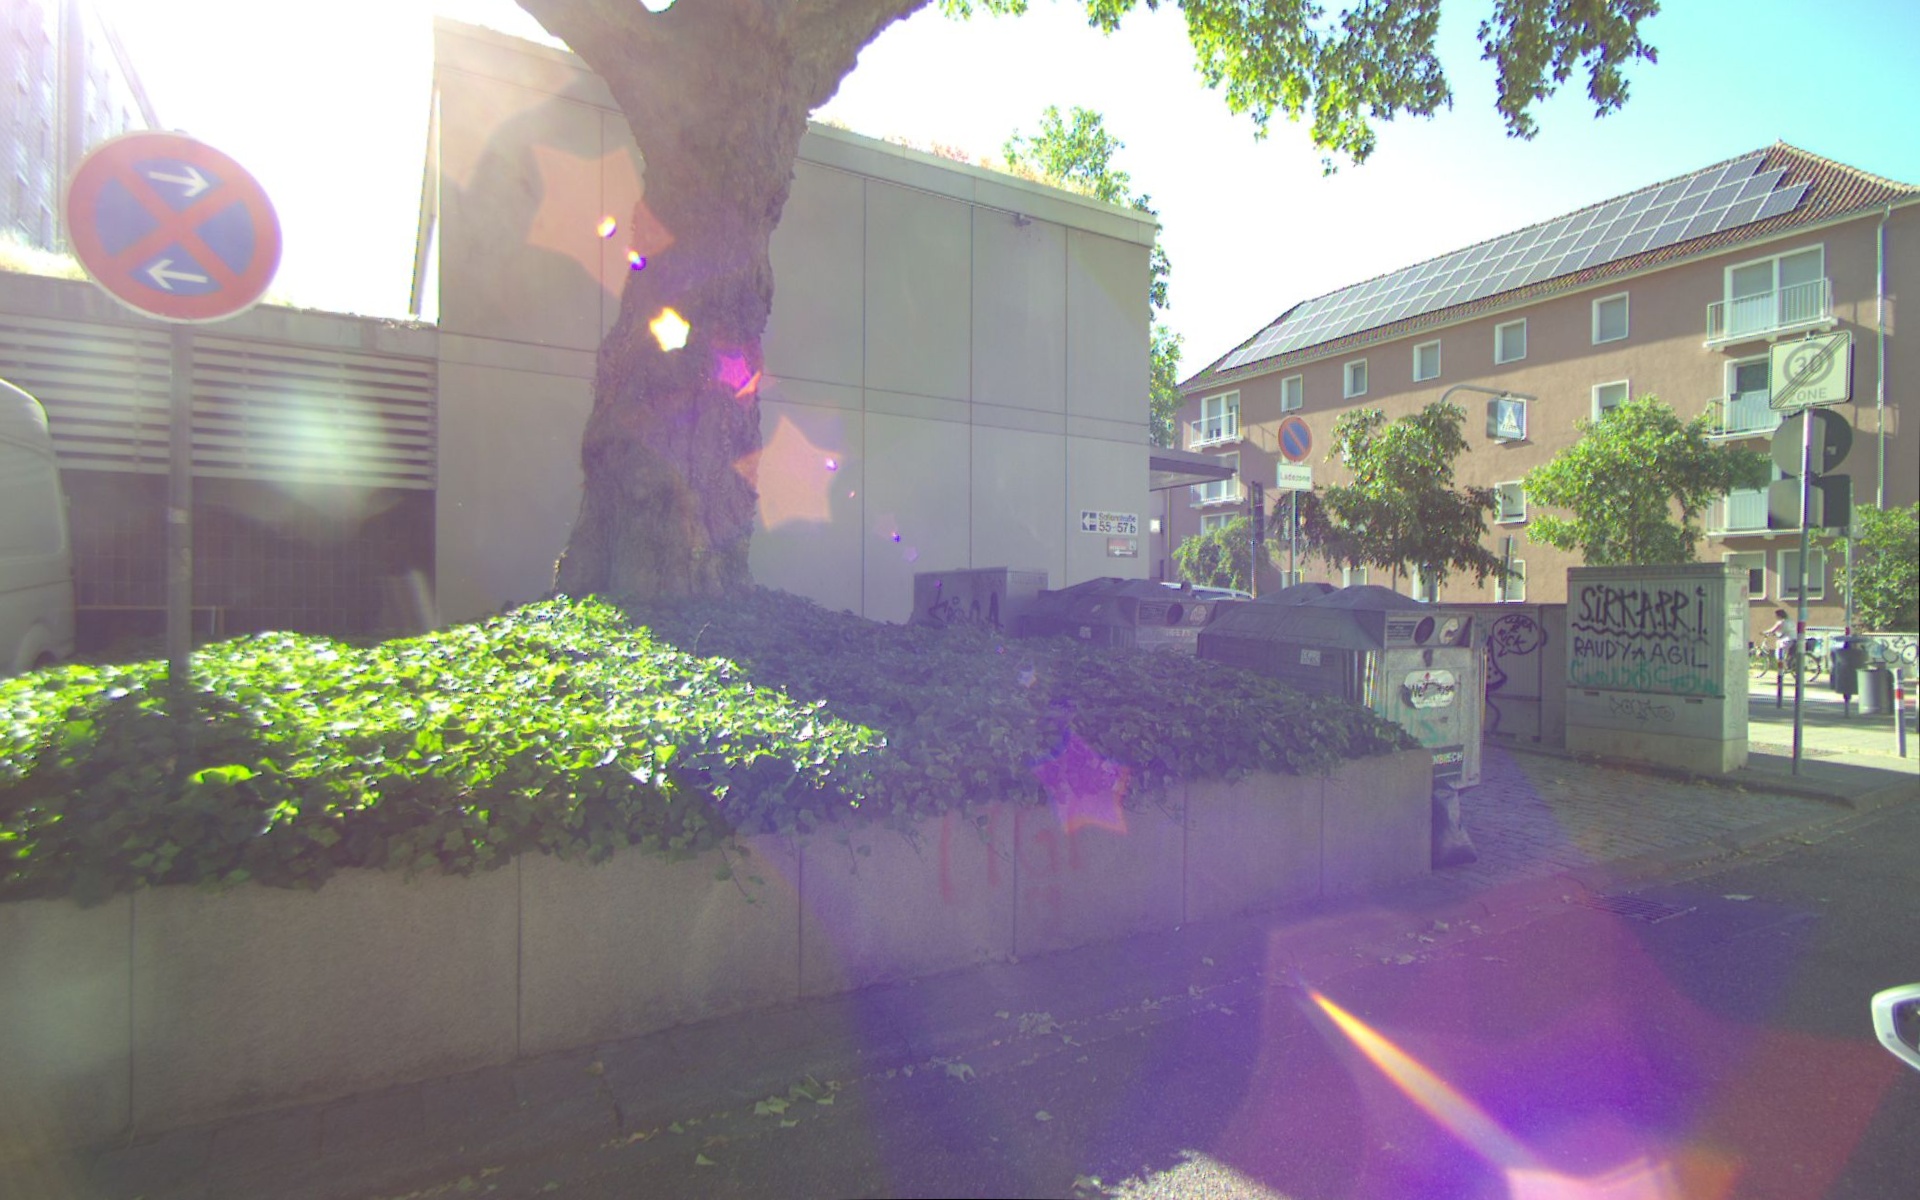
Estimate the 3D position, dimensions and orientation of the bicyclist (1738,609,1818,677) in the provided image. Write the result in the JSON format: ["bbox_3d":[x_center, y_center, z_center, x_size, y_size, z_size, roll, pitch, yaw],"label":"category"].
[{"bbox_3d":[19.002,0.980,23.347,0.826,1.536,1.196,1,-1,-15],"label":"bicyclist"}]

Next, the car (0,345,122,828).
[{"bbox_3d":[-5.617,-0.040,4.031,2.119,2.589,6.709,2,2,-28],"label":"car"}]

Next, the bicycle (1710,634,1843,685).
[{"bbox_3d":[18.992,1.360,23.446,0.777,1.094,2.425,1,-1,-15],"label":"bicycle"}]
